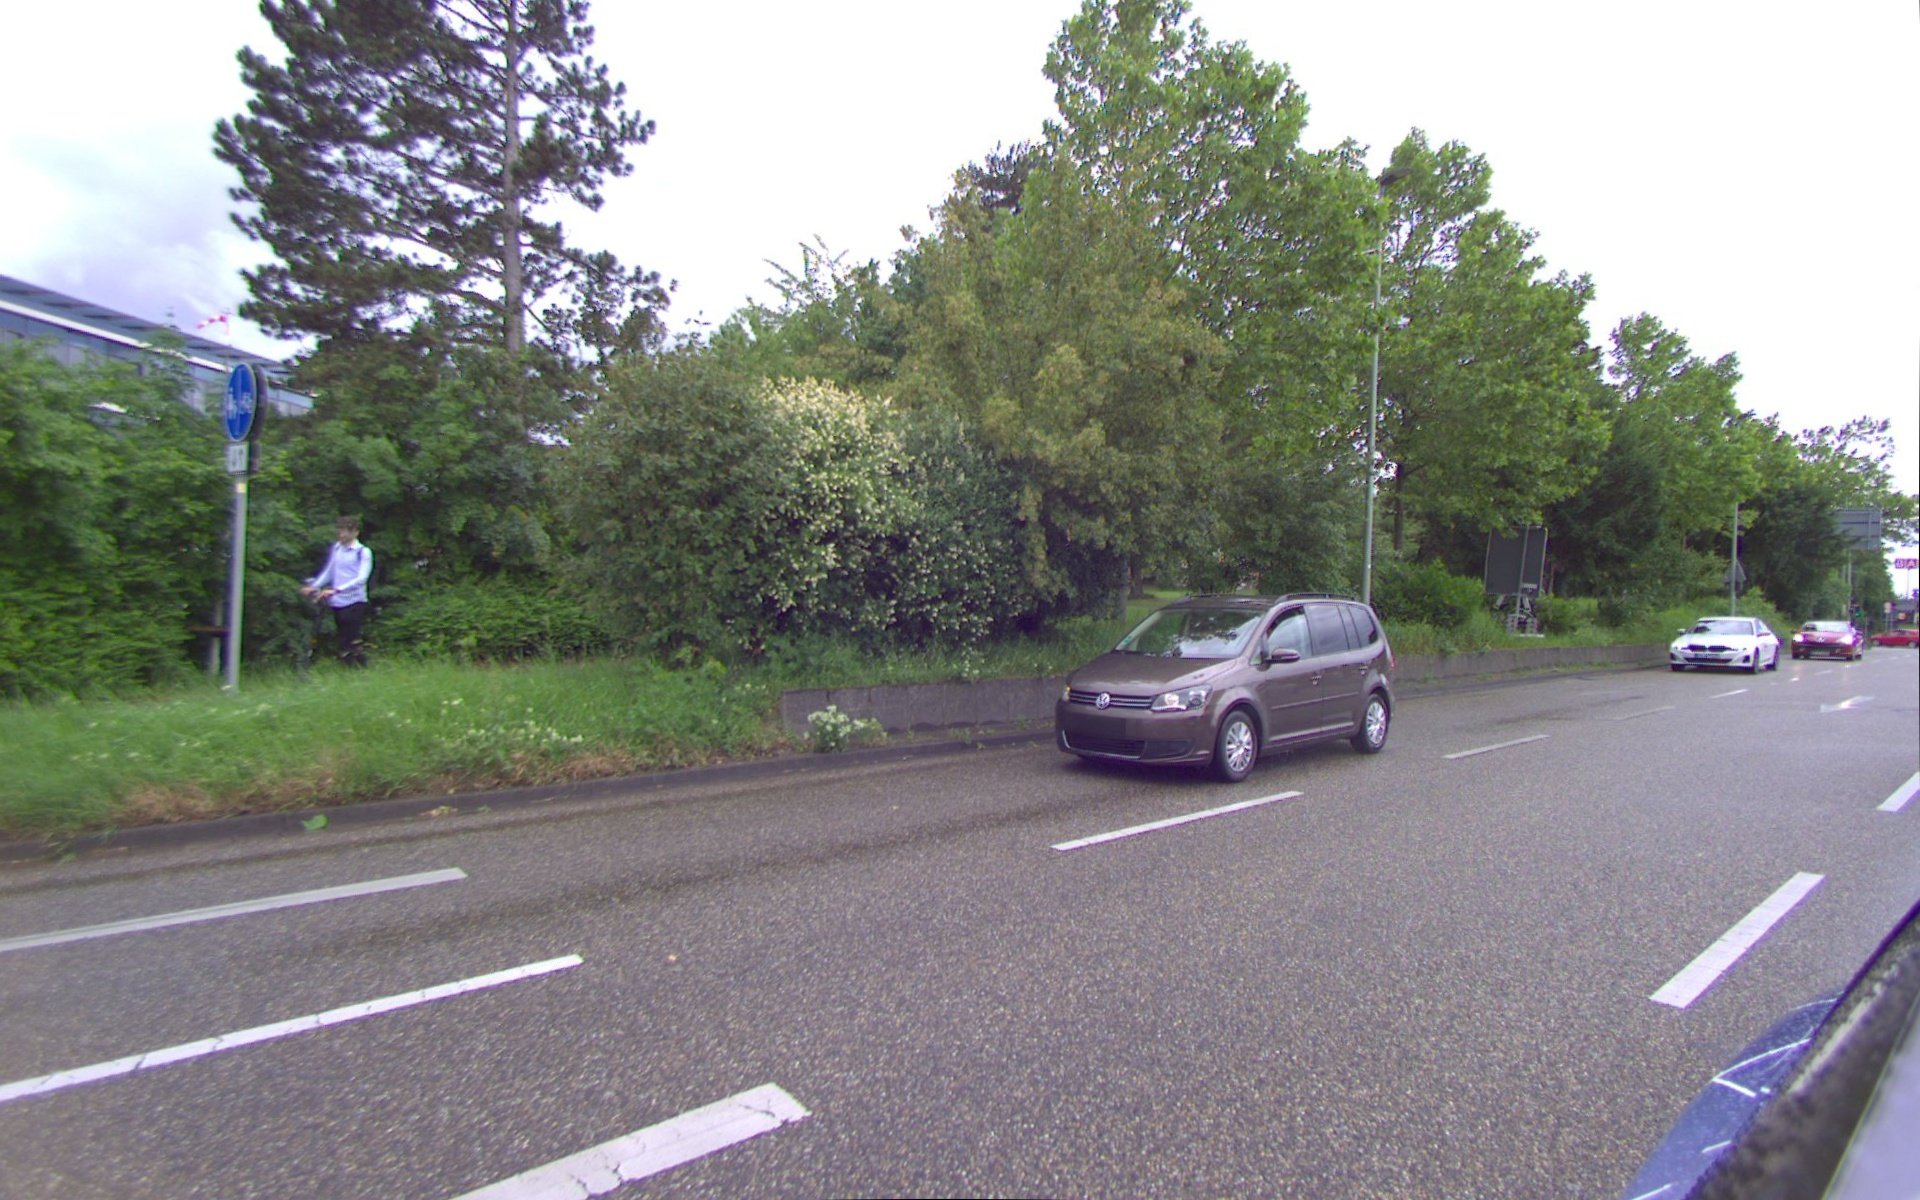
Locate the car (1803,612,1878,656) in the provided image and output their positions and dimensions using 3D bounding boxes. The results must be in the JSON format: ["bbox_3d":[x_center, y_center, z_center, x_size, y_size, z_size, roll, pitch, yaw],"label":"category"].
[{"bbox_3d":[31.144,1.174,35.767,3.626,1.421,1.627,0,0,-42],"label":"car"}]

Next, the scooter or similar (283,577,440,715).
[{"bbox_3d":[-6.356,0.452,10.801,0.460,1.378,1.366,2,1,38],"label":"scooter or similar"}]

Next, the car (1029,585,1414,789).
[{"bbox_3d":[2.697,0.674,9.929,3.998,1.595,1.738,0,0,-42],"label":"car"}]

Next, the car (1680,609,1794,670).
[{"bbox_3d":[20.859,1.003,27.104,4.231,1.445,1.667,0,0,-42],"label":"car"}]

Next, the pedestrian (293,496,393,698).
[{"bbox_3d":[-6.488,-0.045,10.641,0.654,2.027,0.708,2,1,38],"label":"pedestrian"}]
